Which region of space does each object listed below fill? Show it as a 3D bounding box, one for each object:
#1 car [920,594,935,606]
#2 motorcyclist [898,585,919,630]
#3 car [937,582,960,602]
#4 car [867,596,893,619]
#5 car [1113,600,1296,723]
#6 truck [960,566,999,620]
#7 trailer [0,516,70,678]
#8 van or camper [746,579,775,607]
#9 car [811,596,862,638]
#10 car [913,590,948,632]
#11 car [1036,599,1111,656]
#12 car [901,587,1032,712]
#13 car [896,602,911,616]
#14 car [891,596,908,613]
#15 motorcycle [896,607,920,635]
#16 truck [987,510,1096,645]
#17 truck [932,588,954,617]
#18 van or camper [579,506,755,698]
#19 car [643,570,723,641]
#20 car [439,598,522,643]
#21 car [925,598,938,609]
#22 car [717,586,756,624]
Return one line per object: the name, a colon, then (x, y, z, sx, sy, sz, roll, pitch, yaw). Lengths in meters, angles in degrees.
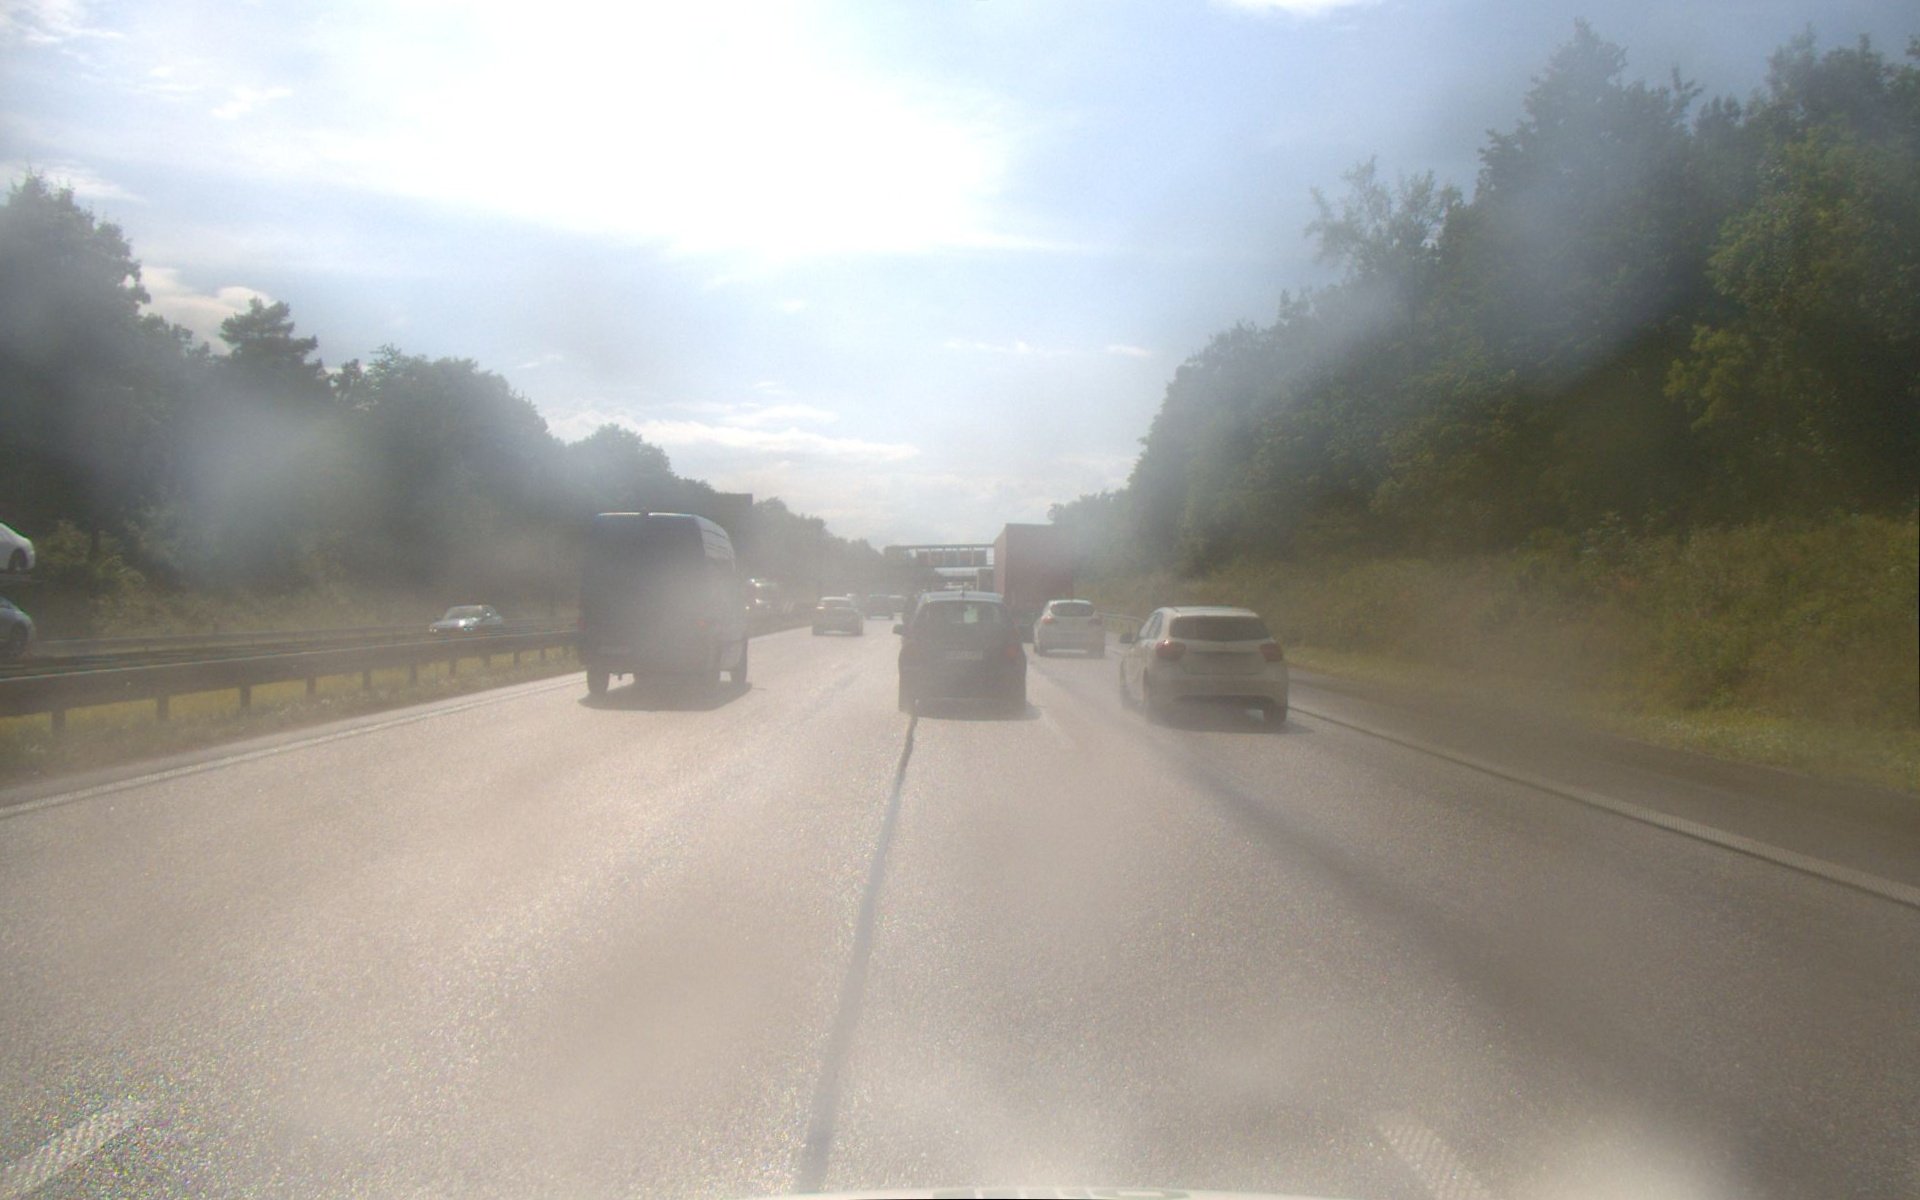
car: (-4.602, -0.010, 232.143, 1.952, 1.731, 4.000, 0, 0, 1)
motorcyclist: (-1.956, 0.279, 62.739, 0.785, 1.662, 1.013, 1, 0, -2)
car: (-0.845, -0.588, 118.879, 1.521, 1.407, 3.208, 1, 0, -2)
car: (-5.408, 0.488, 111.854, 1.716, 1.482, 3.388, 1, 0, -2)
car: (3.119, 0.741, 21.872, 1.658, 1.450, 4.218, 1, 0, -2)
truck: (1.676, -0.596, 147.238, 3.189, 4.558, 12.420, 1, 0, 0)
trailer: (-24.497, -0.119, 33.666, 2.929, 3.898, 17.951, 1, 0, 0)
van or camper: (-22.190, -0.746, 184.076, 2.450, 2.972, 7.135, 1, 0, -2)
car: (-4.850, 0.662, 65.301, 1.817, 1.578, 3.483, 1, 0, -2)
car: (-1.322, 0.484, 74.026, 1.500, 1.777, 3.483, 1, 0, -2)
car: (3.039, 0.718, 44.919, 1.646, 1.467, 3.903, 1, 0, -2)
car: (0.034, 0.652, 23.245, 1.683, 1.595, 3.483, 1, 0, -2)
car: (-5.650, 0.878, 164.771, 1.518, 1.289, 3.483, 1, 0, -2)
car: (-5.100, 0.392, 139.681, 1.431, 1.418, 3.310, 1, 0, -2)
motorcycle: (-1.979, 0.777, 62.780, 0.873, 1.018, 2.895, 1, 0, -2)
truck: (3.058, -0.784, 67.715, 3.575, 4.803, 16.777, 1, 0, 0)
truck: (-1.782, 0.252, 168.869, 2.148, 2.926, 4.848, 1, 0, -2)
van or camper: (-4.529, 0.039, 26.358, 1.953, 2.715, 5.383, 1, 0, -2)
car: (-10.298, 0.209, 61.889, 2.139, 2.495, 5.746, 1, 0, -2)
car: (-17.252, 0.712, 59.709, 1.781, 1.525, 4.527, 1, 0, -2)
car: (-4.312, 0.551, 252.775, 1.953, 1.759, 3.999, 0, 0, -1)
car: (-17.764, 0.410, 131.505, 2.217, 2.920, 6.787, 1, 0, -1)
